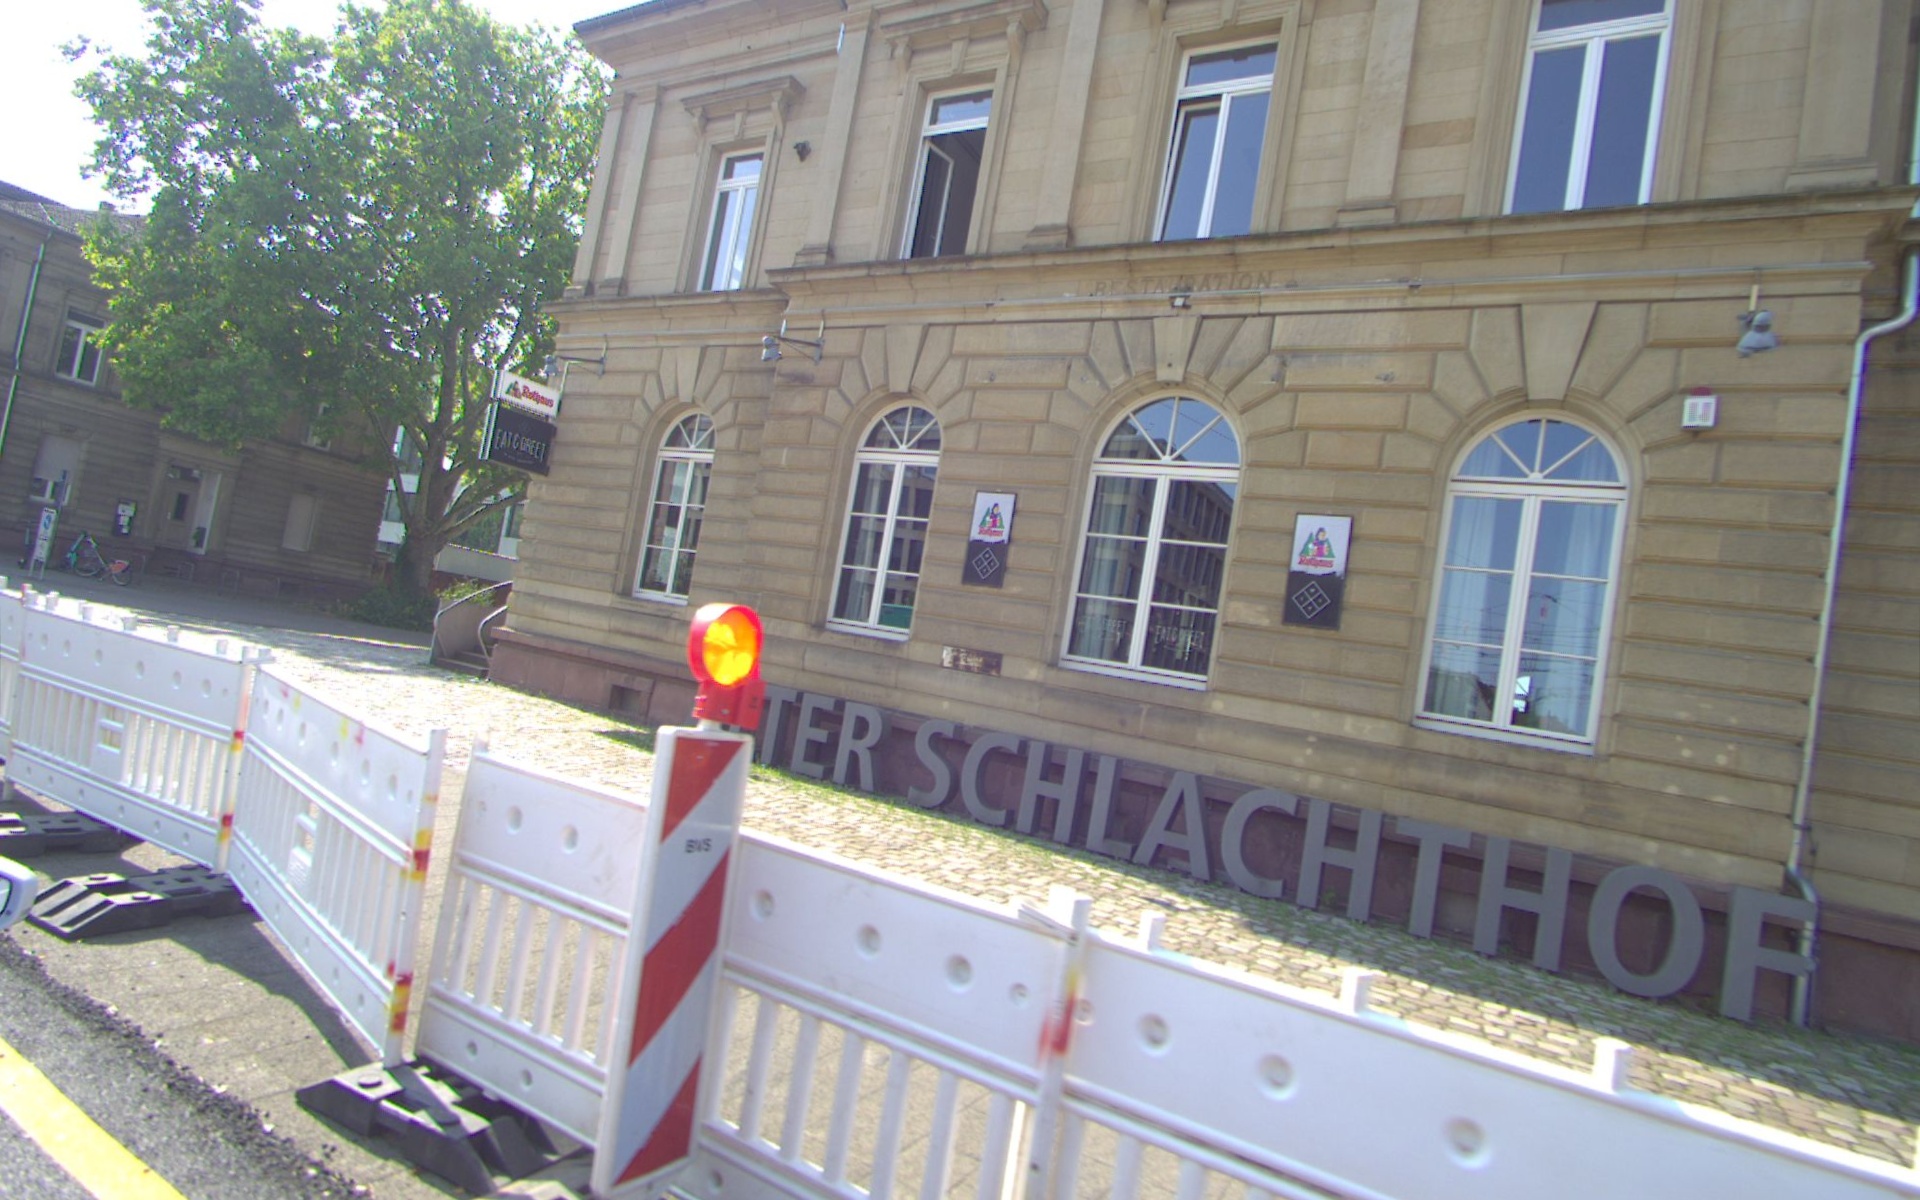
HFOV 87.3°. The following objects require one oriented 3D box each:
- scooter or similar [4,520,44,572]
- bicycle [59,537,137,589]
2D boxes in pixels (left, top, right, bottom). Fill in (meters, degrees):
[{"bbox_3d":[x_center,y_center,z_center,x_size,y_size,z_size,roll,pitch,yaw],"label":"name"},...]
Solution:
[{"bbox_3d":[-25.002,-1.441,26.871,1.155,1.241,0.426,7,-4,38],"label":"scooter or similar"},{"bbox_3d":[-23.655,-1.012,27.605,1.784,1.009,0.494,12,-3,12],"label":"bicycle"}]
